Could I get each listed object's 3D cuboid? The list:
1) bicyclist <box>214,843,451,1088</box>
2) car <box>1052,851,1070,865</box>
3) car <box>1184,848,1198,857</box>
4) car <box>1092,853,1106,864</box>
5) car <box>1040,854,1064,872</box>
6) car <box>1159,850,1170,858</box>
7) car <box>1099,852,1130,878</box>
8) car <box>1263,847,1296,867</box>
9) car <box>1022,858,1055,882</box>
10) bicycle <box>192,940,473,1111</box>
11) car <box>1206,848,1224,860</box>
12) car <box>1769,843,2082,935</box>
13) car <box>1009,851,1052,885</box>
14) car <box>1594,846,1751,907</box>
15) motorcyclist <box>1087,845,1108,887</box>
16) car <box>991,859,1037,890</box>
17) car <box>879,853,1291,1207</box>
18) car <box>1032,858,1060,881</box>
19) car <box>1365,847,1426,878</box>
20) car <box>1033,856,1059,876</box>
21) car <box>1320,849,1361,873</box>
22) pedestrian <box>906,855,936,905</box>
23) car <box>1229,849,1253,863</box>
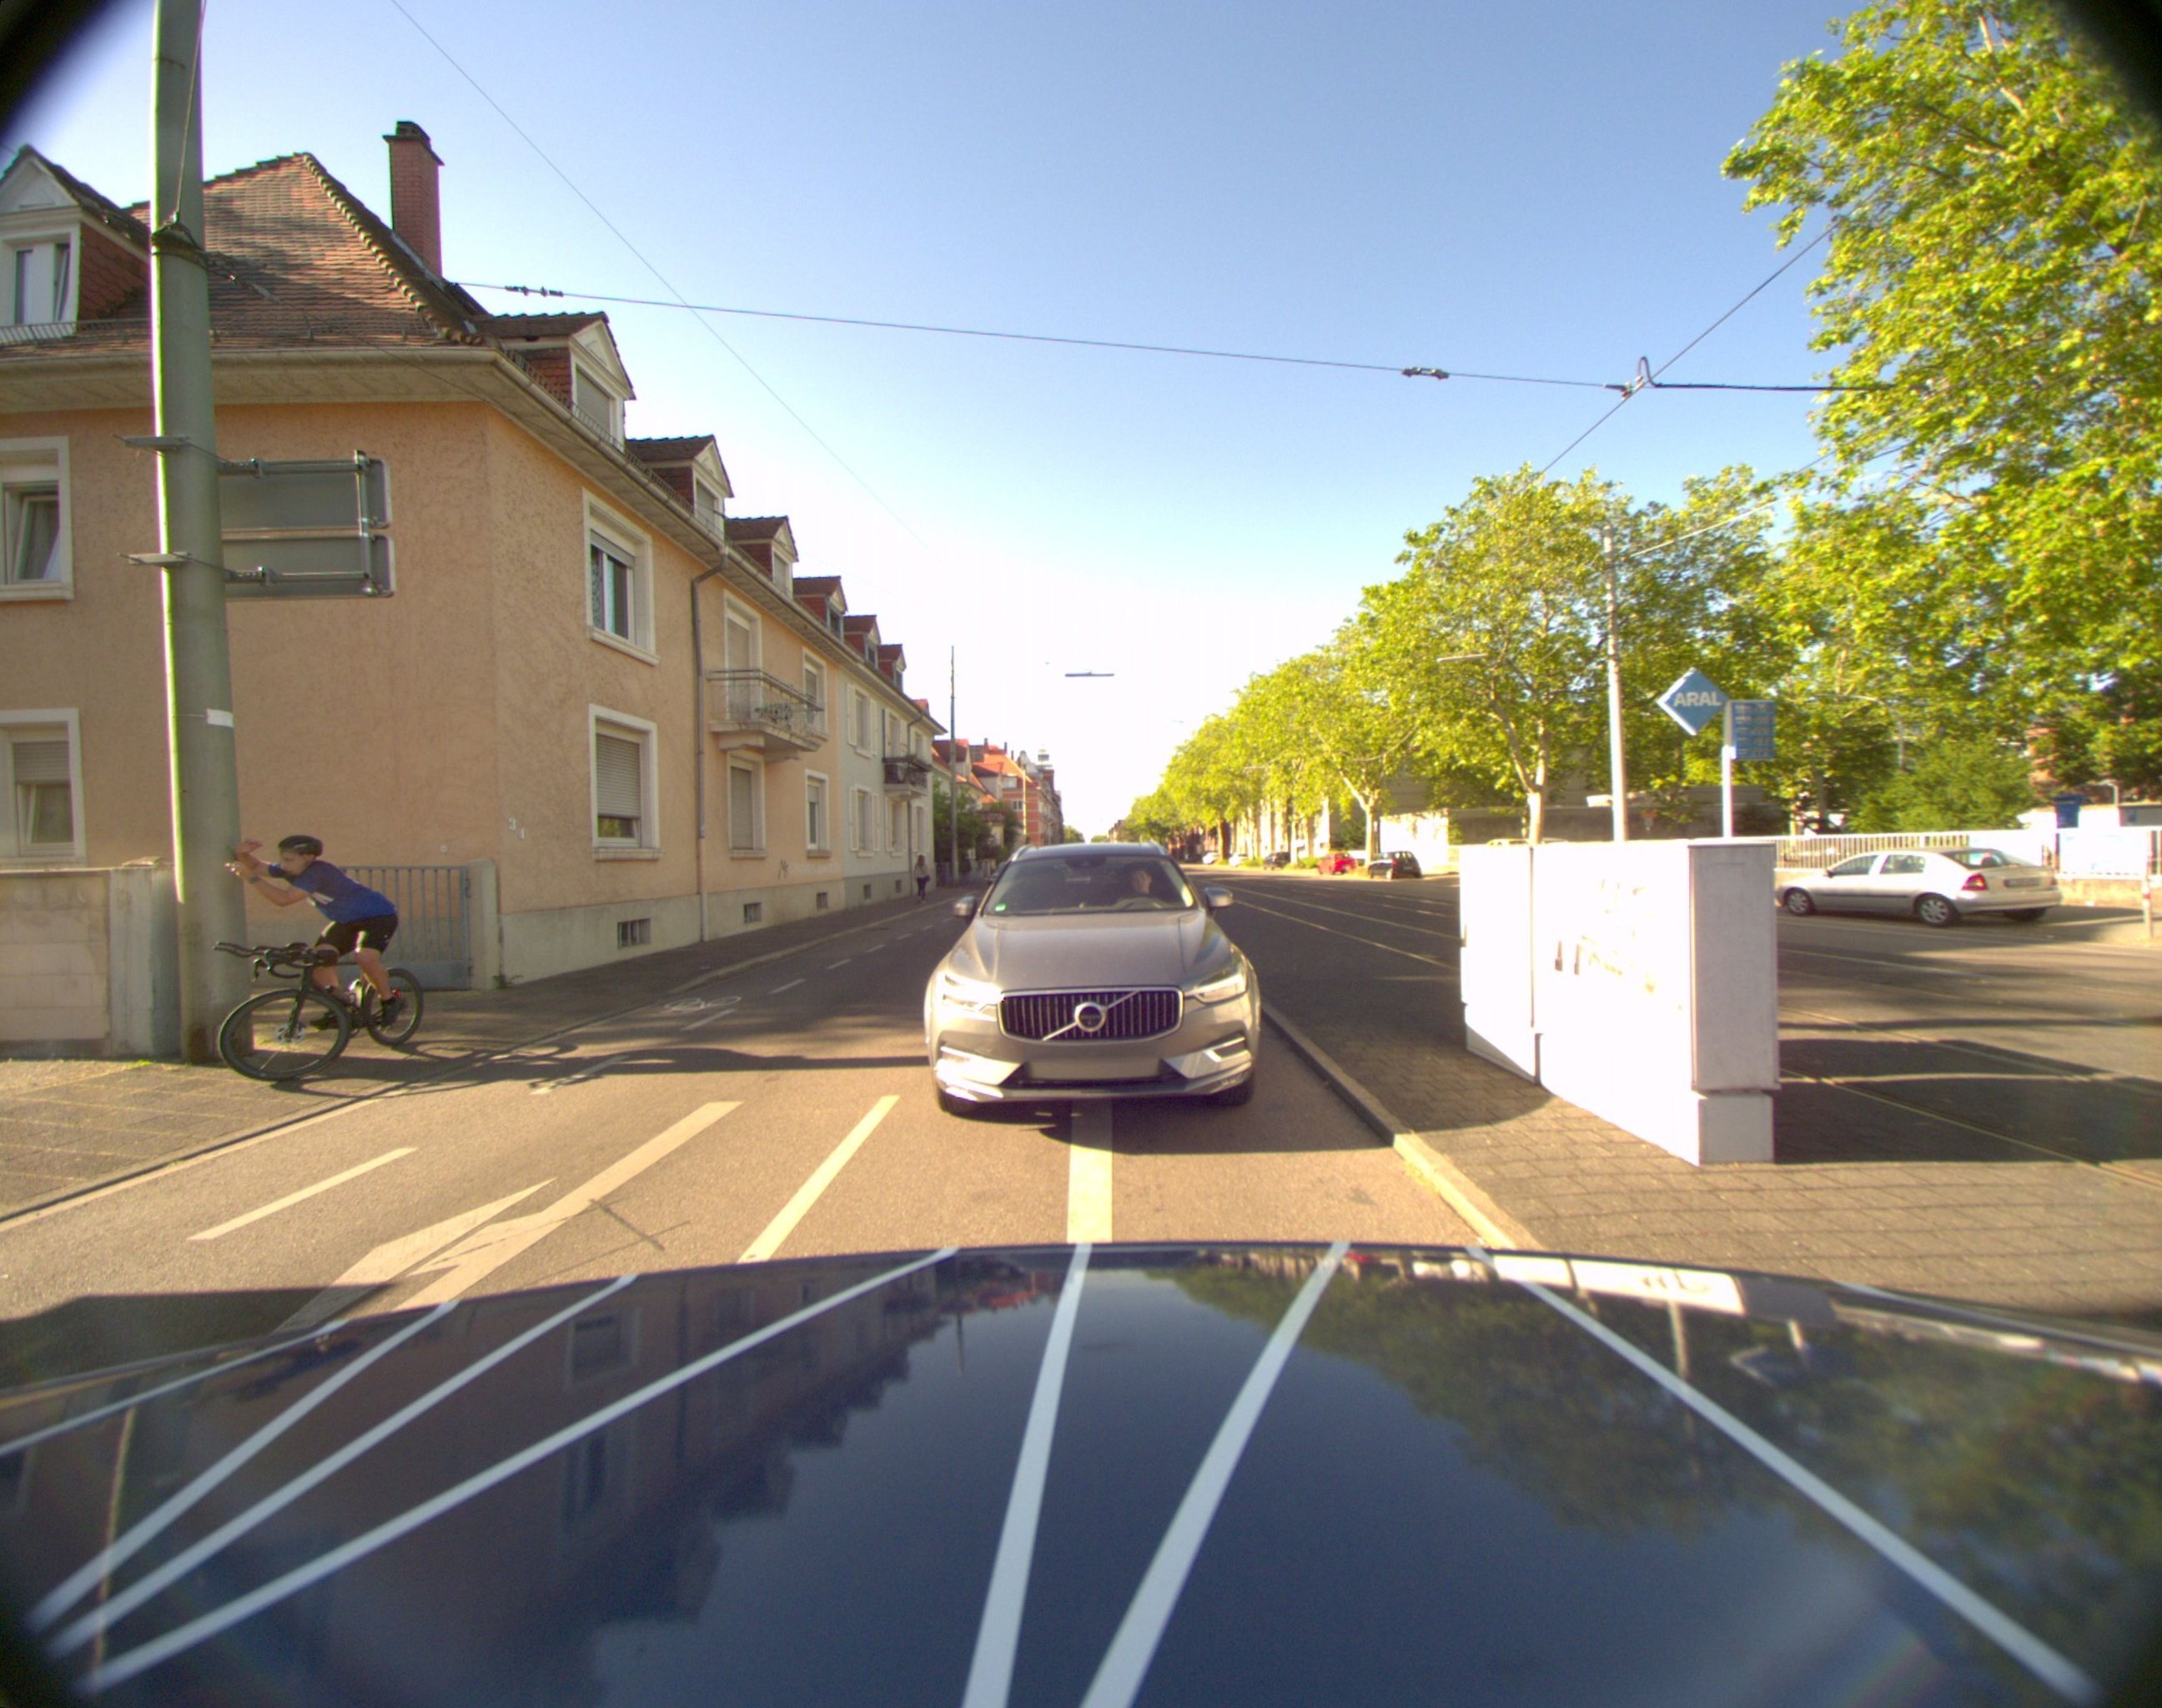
[{"bbox_3d":[-6.141,0.859,6.295,1.076,1.854,0.846,2,1,1],"label":"bicyclist"},{"bbox_3d":[-2.199,0.444,85.495,1.875,1.477,4.000,-1,0,1],"label":"car"},{"bbox_3d":[18.199,-0.229,125.633,1.802,1.504,4.000,-1,0,1],"label":"car"},{"bbox_3d":[2.558,0.632,107.829,1.998,1.543,4.000,-1,0,1],"label":"car"},{"bbox_3d":[-2.556,0.762,66.833,1.875,1.477,4.000,-1,0,1],"label":"car"},{"bbox_3d":[16.773,-0.063,153.389,1.802,1.504,4.000,-1,0,1],"label":"car"},{"bbox_3d":[2.056,0.645,47.486,1.762,1.513,4.101,-1,0,1],"label":"car"},{"bbox_3d":[17.200,0.279,66.046,1.802,1.652,4.000,-1,0,1],"label":"car"},{"bbox_3d":[-2.678,0.987,48.308,1.785,1.346,4.000,-1,0,1],"label":"car"},{"bbox_3d":[-5.936,1.299,6.180,0.572,0.986,1.698,2,0,1],"label":"bicycle"},{"bbox_3d":[17.737,-0.019,100.676,1.802,1.504,4.000,-1,0,1],"label":"car"},{"bbox_3d":[16.252,0.592,14.996,1.795,1.455,3.966,-4,0,2],"label":"car"},{"bbox_3d":[-2.783,0.711,42.889,1.751,1.767,5.351,-1,0,3],"label":"car"},{"bbox_3d":[16.437,0.570,21.344,1.692,1.455,3.519,-4,0,2],"label":"car"},{"bbox_3d":[0.739,0.515,33.751,0.827,1.832,1.159,-2,1,1],"label":"motorcyclist"},{"bbox_3d":[-3.205,0.960,37.030,1.647,1.357,3.868,-1,0,4],"label":"car"},{"bbox_3d":[0.048,0.847,5.806,1.940,1.650,4.321,-1,0,1],"label":"car"},{"bbox_3d":[-2.461,1.080,54.444,1.785,1.468,4.000,-1,0,1],"label":"car"},{"bbox_3d":[16.888,0.416,40.985,1.826,1.521,3.653,-2,0,1],"label":"car"},{"bbox_3d":[-2.746,0.940,60.680,1.785,1.468,4.000,-1,0,1],"label":"car"},{"bbox_3d":[16.949,0.428,49.754,1.641,1.499,3.046,-1,0,1],"label":"car"},{"bbox_3d":[-5.501,0.863,26.161,0.694,1.652,1.098,-2,1,0],"label":"pedestrian"},{"bbox_3d":[17.551,0.214,83.431,1.802,1.489,4.000,-1,0,1],"label":"car"}]
